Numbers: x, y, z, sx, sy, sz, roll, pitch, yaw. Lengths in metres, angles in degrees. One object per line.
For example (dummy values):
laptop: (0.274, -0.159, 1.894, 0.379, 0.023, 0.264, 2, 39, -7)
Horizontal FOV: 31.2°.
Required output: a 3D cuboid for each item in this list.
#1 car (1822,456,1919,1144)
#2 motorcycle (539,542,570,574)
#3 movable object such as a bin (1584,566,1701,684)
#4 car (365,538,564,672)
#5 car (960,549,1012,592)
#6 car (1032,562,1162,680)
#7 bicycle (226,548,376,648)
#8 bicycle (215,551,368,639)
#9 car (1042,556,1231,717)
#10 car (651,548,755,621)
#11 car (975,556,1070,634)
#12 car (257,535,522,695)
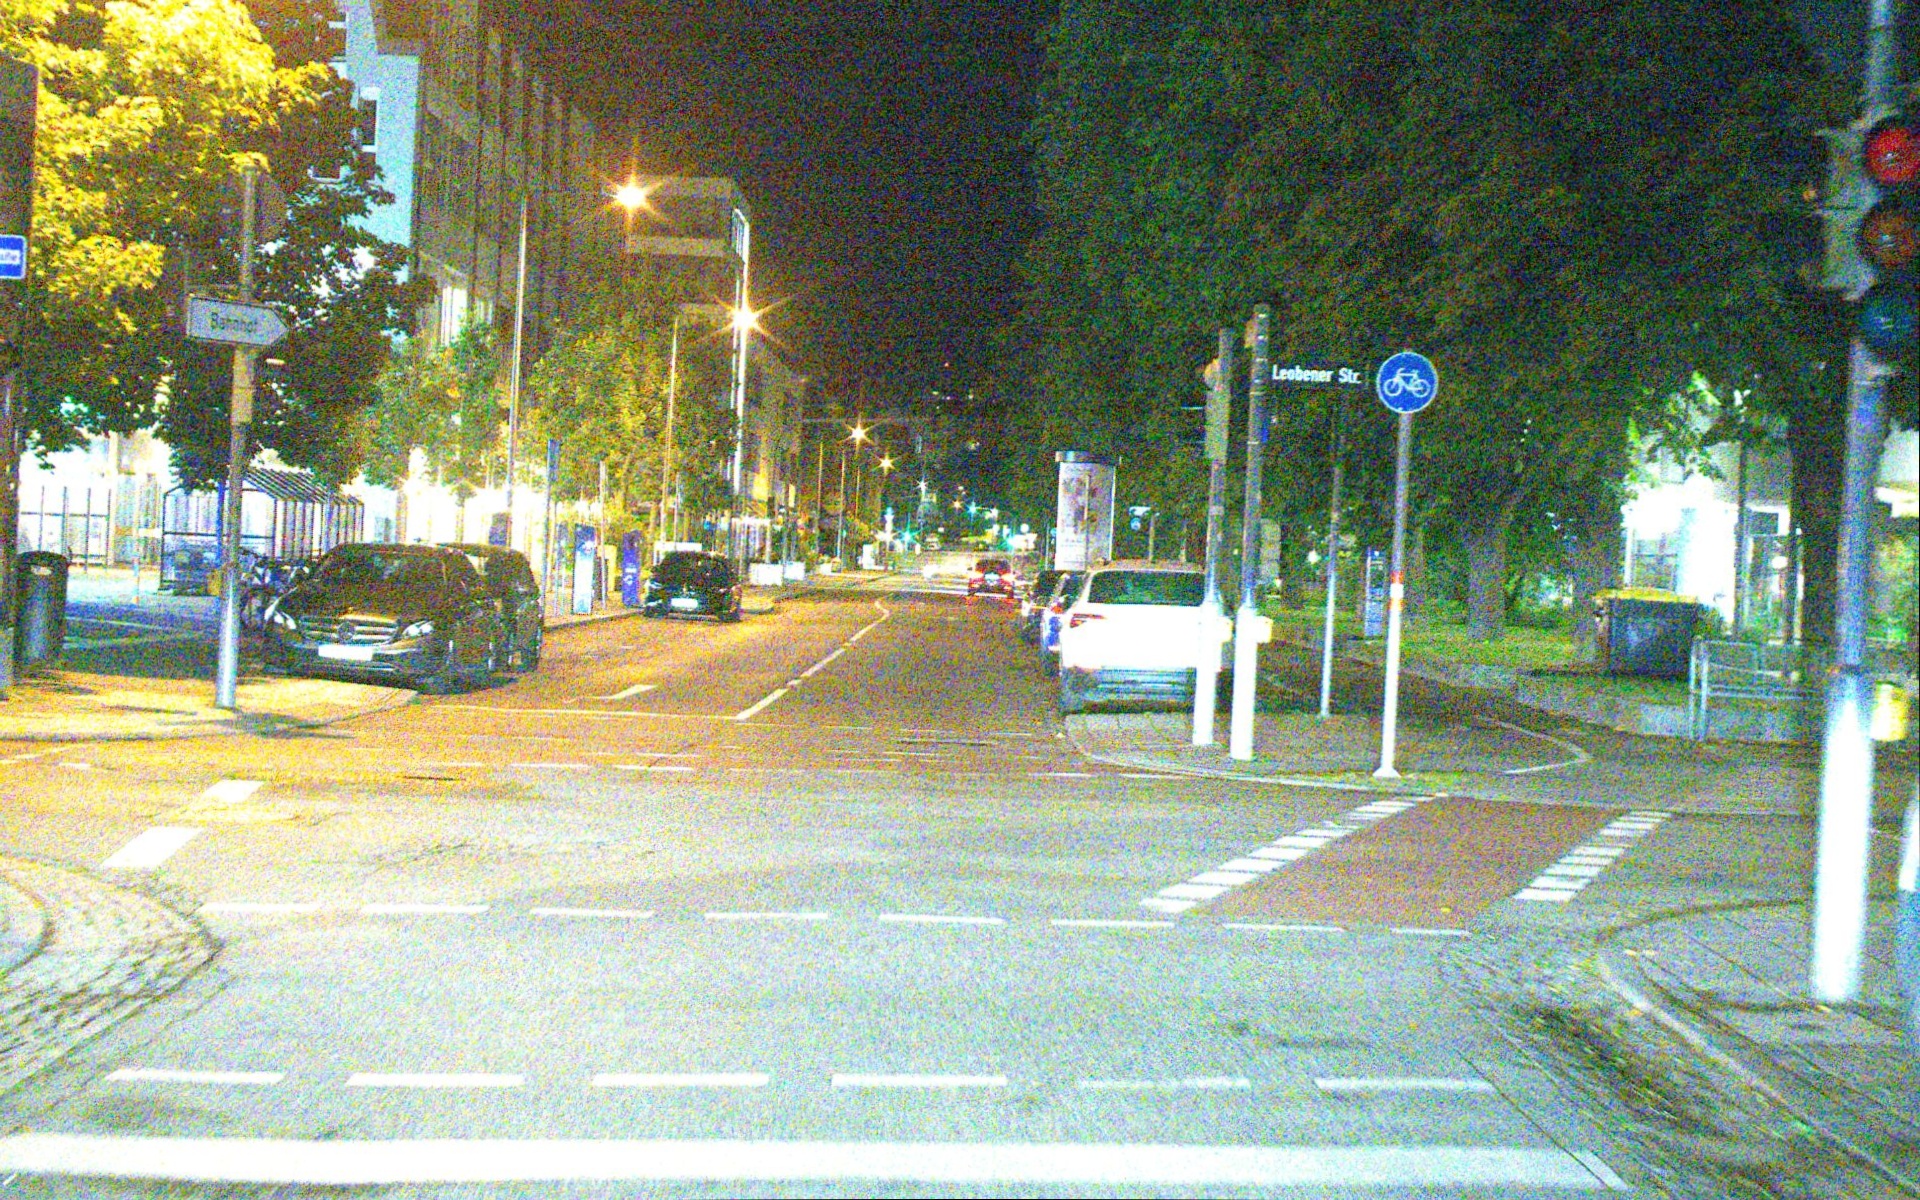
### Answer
car: (3.467, 0.576, 7.737, 1.789, 1.816, 4.580, 2, 1, -1)
motorcycle: (-12.983, -1.345, 110.100, 0.478, 1.017, 1.674, 3, 1, 11)
movable object such as a bin: (8.403, 0.304, 42.374, 1.160, 1.366, 0.993, 3, 1, -1)
car: (-5.985, 0.026, 41.948, 1.722, 1.423, 3.976, 5, 1, 0)
car: (1.013, -1.187, 136.643, 1.993, 1.637, 4.000, 2, 1, 0)
car: (1.913, 0.269, 48.913, 1.689, 1.531, 4.016, 2, 1, 1)
bicycle: (-8.837, -0.034, 46.131, 1.851, 1.249, 0.533, 2, 1, 0)
bicycle: (-8.851, -0.070, 45.530, 1.851, 1.031, 0.533, 4, 1, 0)
car: (1.757, 0.328, 35.337, 1.770, 1.531, 4.216, 1, 1, 1)
car: (-5.474, -0.348, 73.678, 1.741, 1.408, 4.495, 4, 1, 1)
car: (1.232, -0.120, 67.830, 1.764, 1.409, 4.807, 2, 1, 1)
car: (-5.864, 0.111, 35.879, 1.807, 1.420, 4.921, 5, 1, 0)
